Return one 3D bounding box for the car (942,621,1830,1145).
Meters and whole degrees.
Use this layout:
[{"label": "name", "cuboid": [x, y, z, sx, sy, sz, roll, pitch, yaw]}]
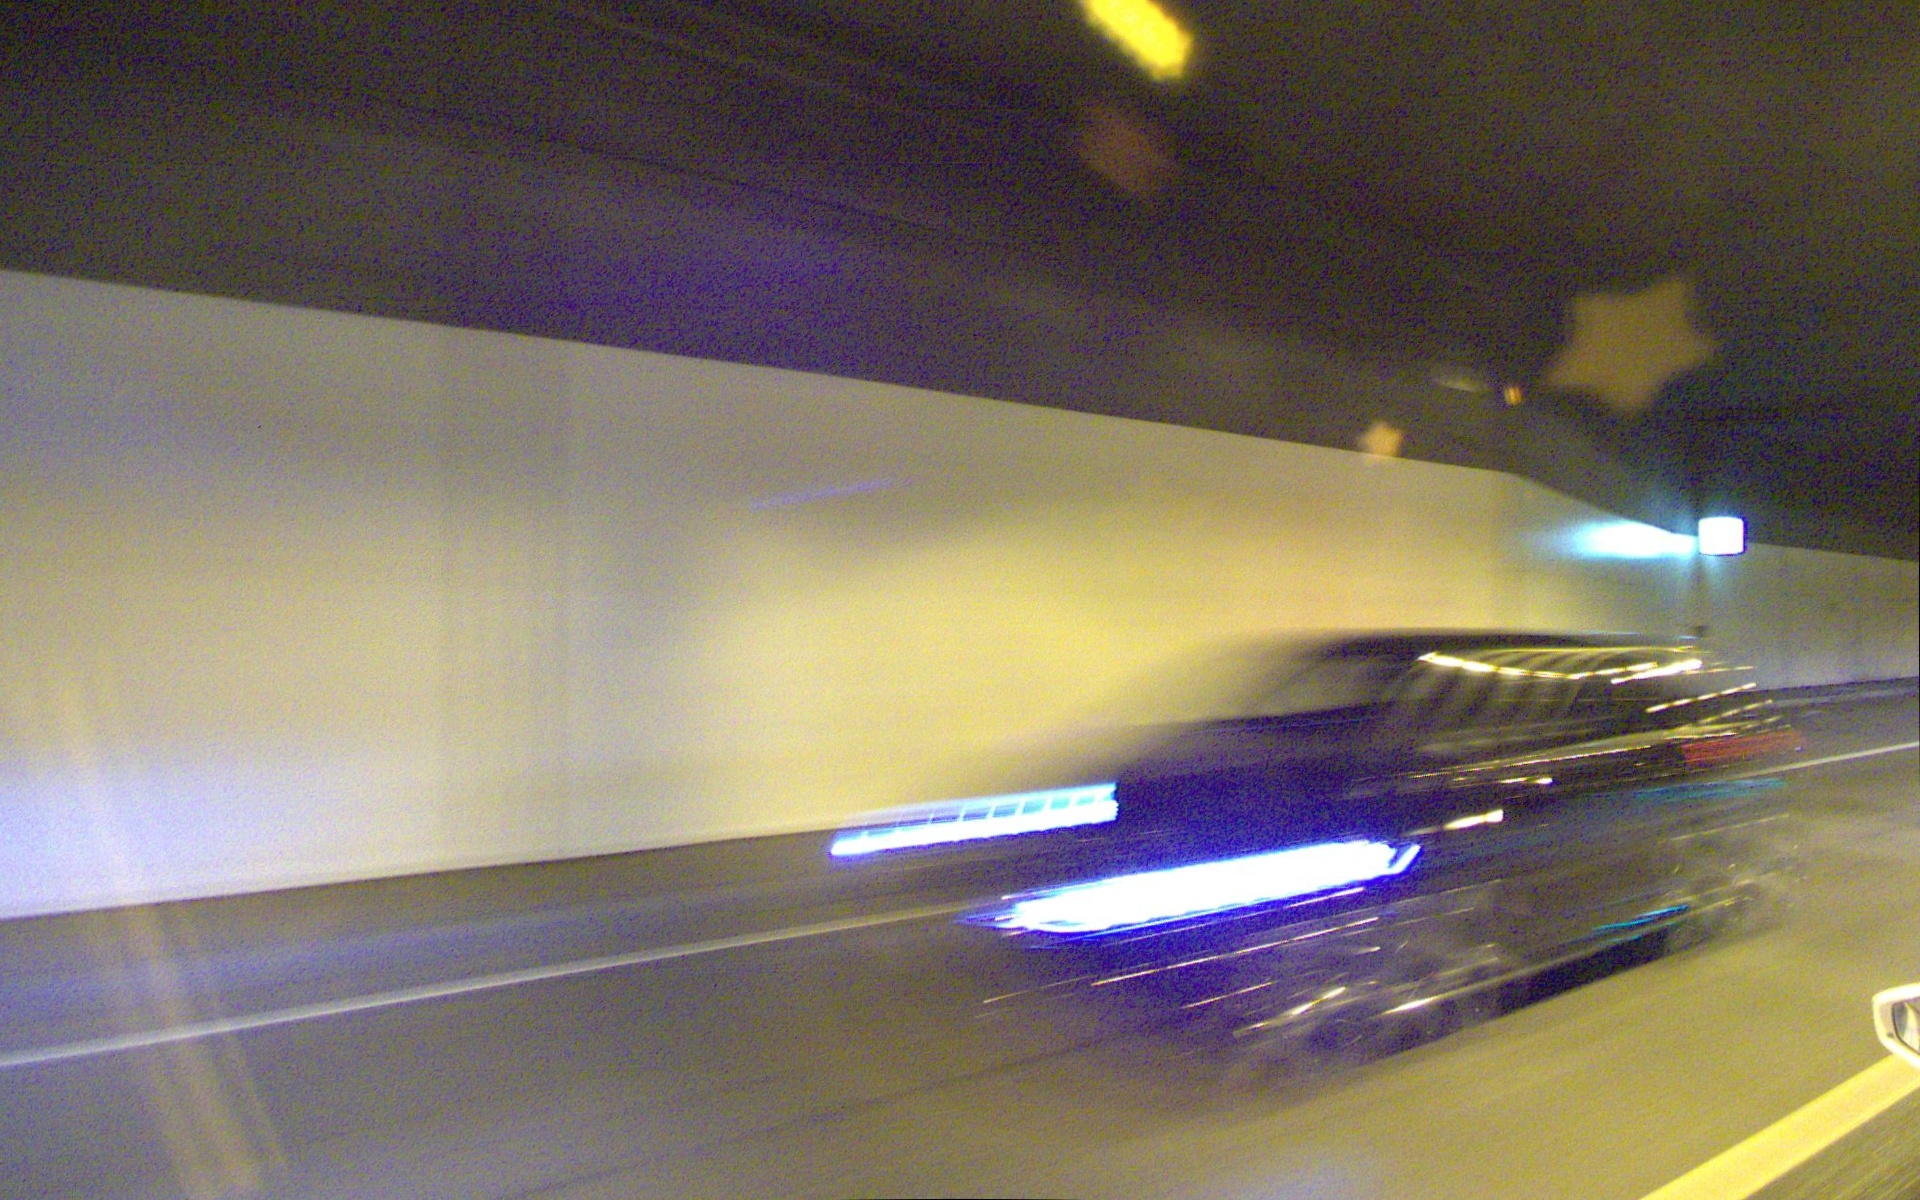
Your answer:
[{"label": "car", "cuboid": [2.092, 0.832, 4.594, 4.071, 1.434, 1.699, 0, -2, -32]}]
